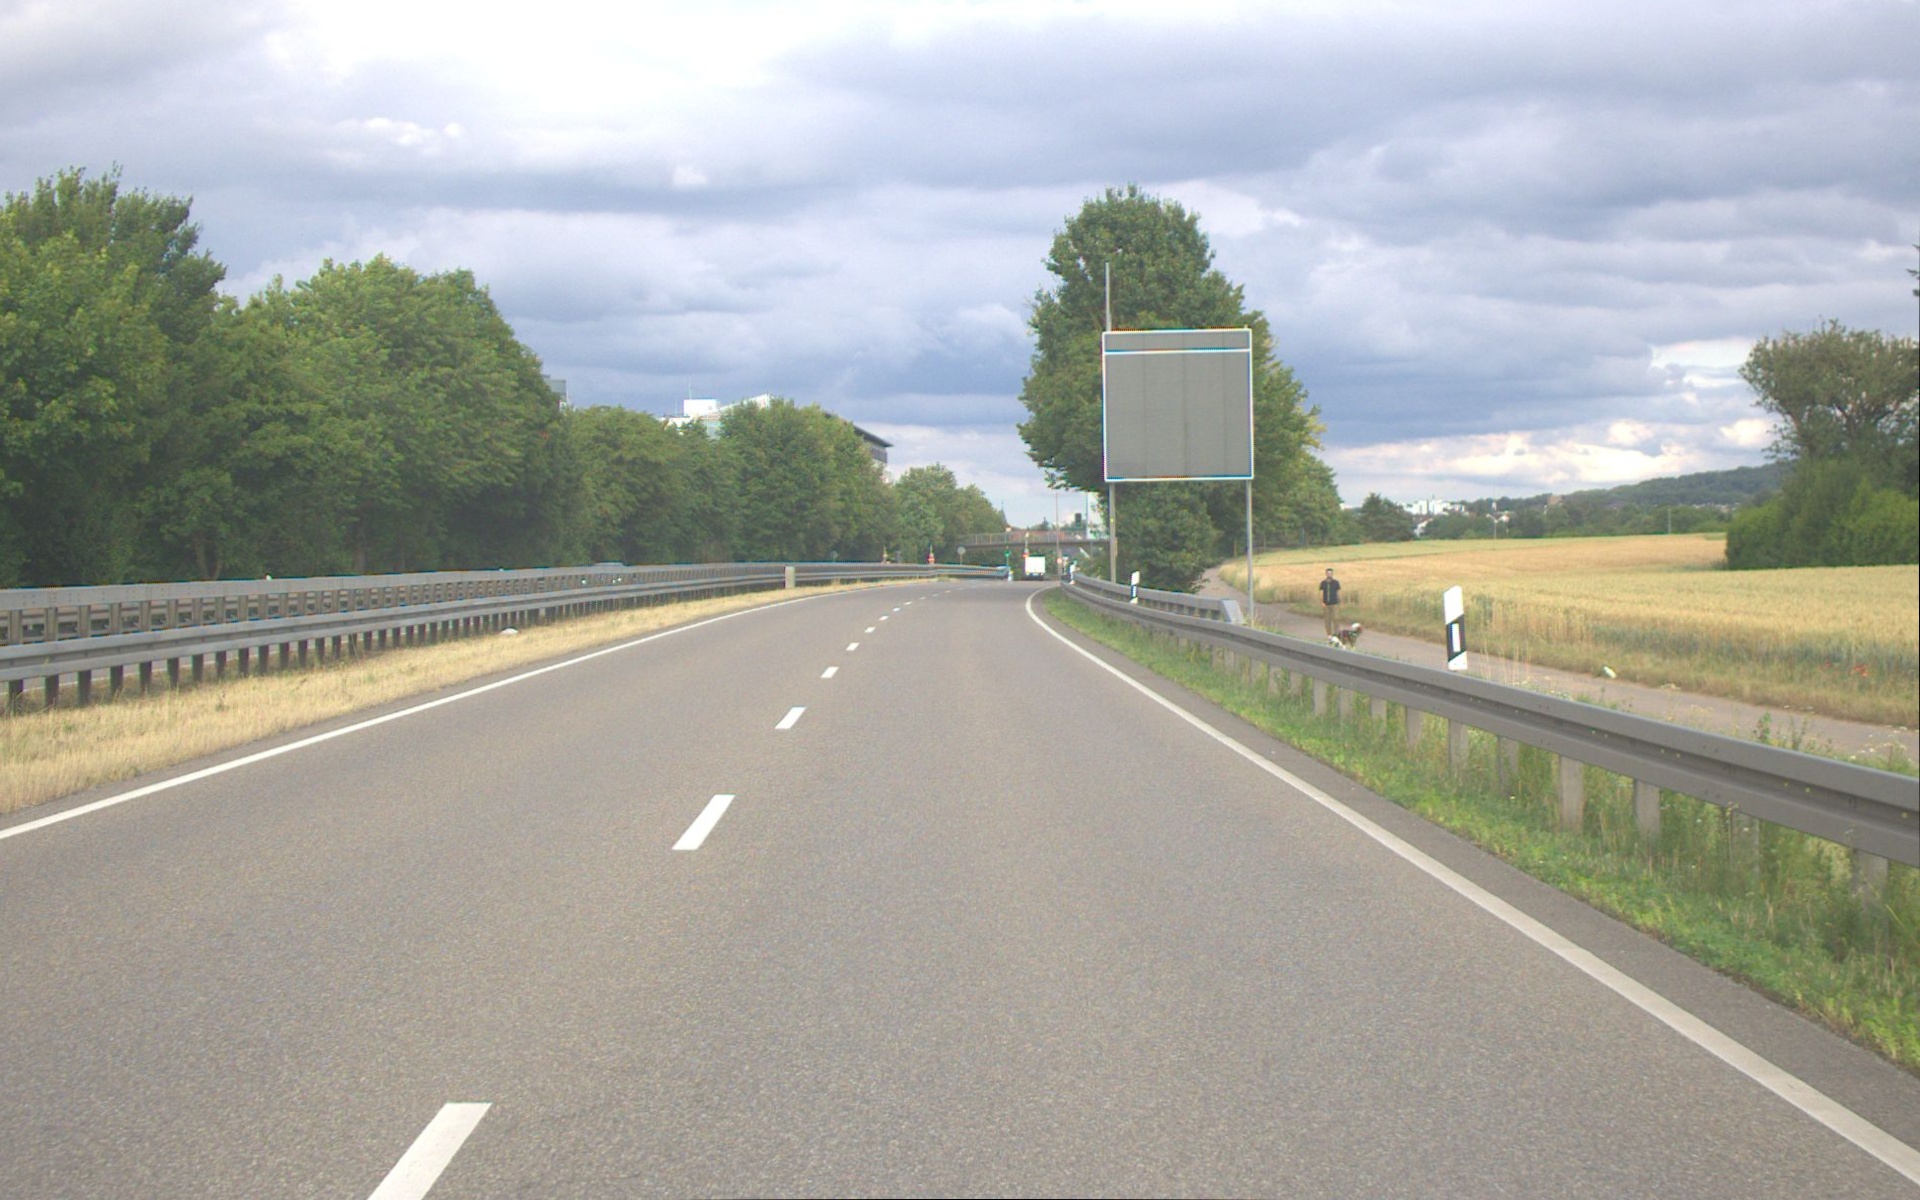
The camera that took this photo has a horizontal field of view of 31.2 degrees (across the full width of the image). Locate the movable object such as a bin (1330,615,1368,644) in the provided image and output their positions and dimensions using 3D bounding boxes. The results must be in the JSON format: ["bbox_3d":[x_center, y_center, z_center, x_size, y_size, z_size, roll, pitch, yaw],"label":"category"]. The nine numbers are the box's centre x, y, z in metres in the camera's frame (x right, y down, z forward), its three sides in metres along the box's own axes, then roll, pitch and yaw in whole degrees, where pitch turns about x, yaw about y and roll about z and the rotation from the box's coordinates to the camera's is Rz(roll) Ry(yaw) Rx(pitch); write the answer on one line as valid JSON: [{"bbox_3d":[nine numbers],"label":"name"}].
[{"bbox_3d":[9.136,0.683,80.753,0.732,0.643,1.235,1,0,0],"label":"movable object such as a bin"}]

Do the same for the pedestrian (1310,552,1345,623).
[{"bbox_3d":[9.824,-0.336,91.902,0.771,1.861,0.940,1,0,0],"label":"pedestrian"}]
